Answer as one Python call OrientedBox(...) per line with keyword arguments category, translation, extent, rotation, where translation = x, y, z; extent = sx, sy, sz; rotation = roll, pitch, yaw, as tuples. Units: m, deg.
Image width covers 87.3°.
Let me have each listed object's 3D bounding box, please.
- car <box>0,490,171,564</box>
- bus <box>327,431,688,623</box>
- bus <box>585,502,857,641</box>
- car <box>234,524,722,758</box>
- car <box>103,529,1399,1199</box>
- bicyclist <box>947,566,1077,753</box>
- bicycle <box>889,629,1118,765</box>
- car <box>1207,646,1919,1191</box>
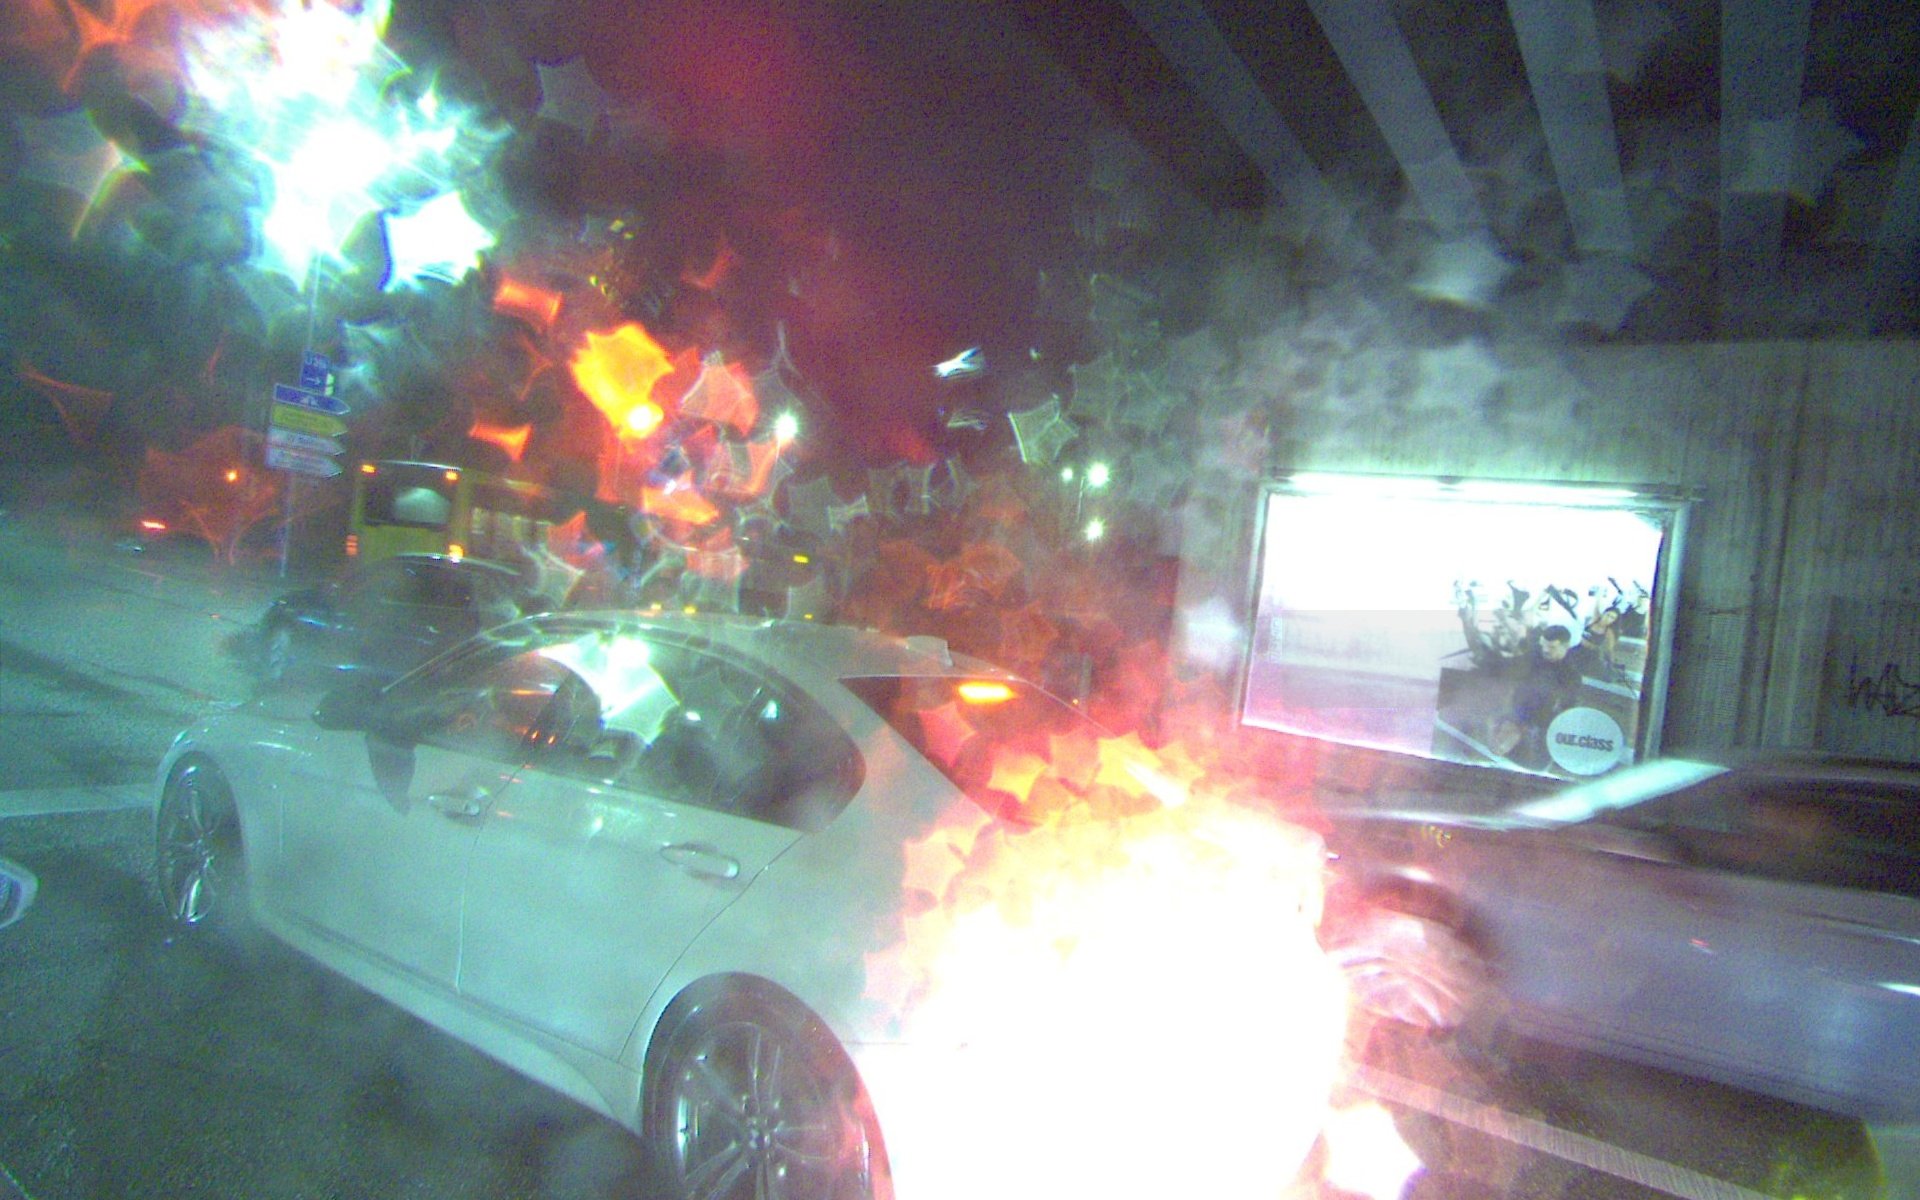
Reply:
OrientedBox(category="car", translation=(-25.800, -2.127, 29.341), extent=(4.117, 1.504, 1.780), rotation=(9, -2, -35))
OrientedBox(category="bus", translation=(-10.215, -1.341, 24.561), extent=(2.725, 3.159, 9.774), rotation=(8, -2, 10))
OrientedBox(category="bus", translation=(-7.262, -0.674, 32.728), extent=(2.729, 3.159, 9.760), rotation=(7, -2, 26))
OrientedBox(category="car", translation=(-4.578, 0.299, 9.333), extent=(4.553, 1.495, 1.841), rotation=(6, -2, 33))
OrientedBox(category="car", translation=(-0.972, 0.711, 3.494), extent=(4.277, 1.420, 1.720), rotation=(6, -2, 32))
OrientedBox(category="bicyclist", translation=(0.552, 0.619, 10.485), extent=(0.886, 1.783, 0.798), rotation=(6, -1, 32))
OrientedBox(category="bicycle", translation=(0.427, 0.983, 10.508), extent=(2.171, 1.070, 0.798), rotation=(6, -2, 32))
OrientedBox(category="car", translation=(3.616, 1.283, 4.235), extent=(4.550, 1.502, 1.852), rotation=(8, 0, 29))
